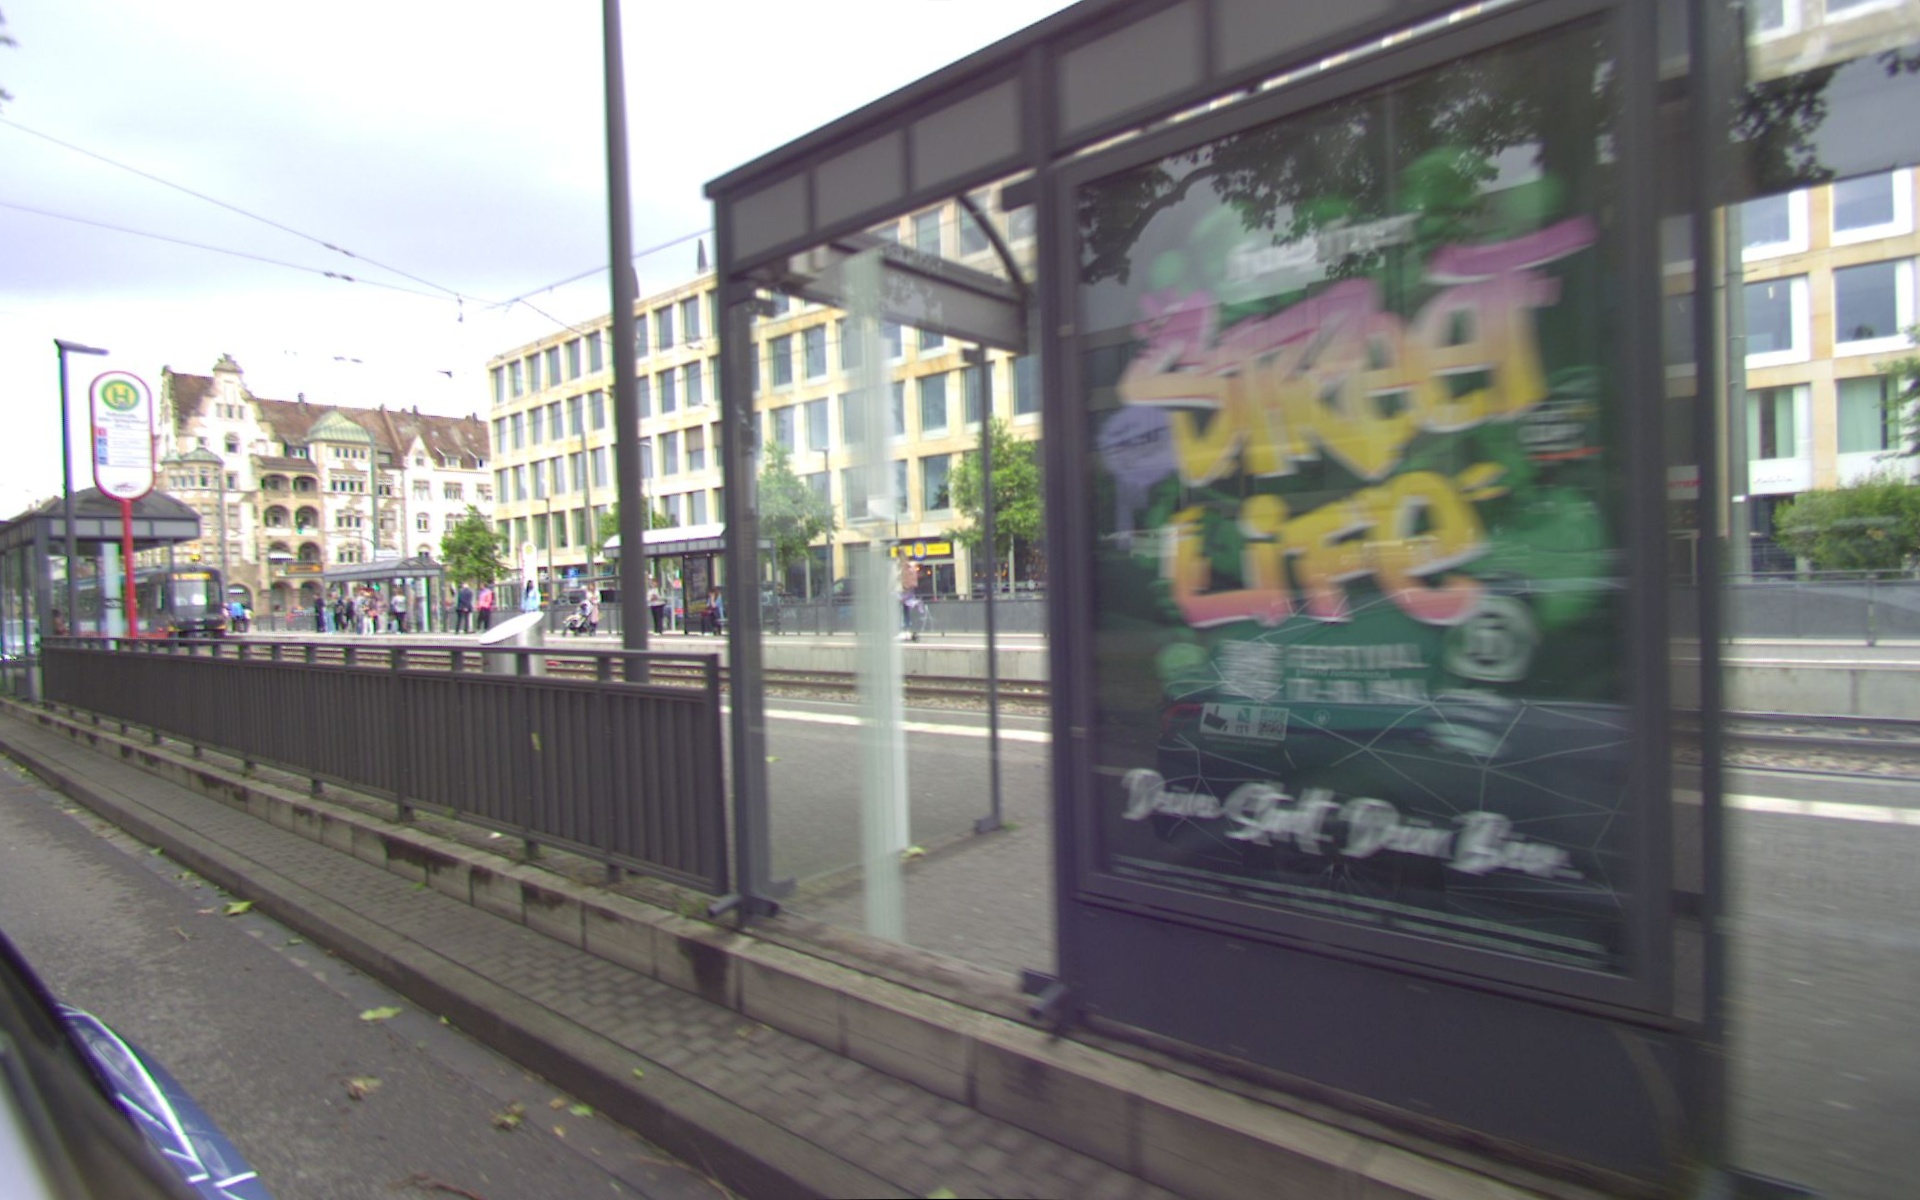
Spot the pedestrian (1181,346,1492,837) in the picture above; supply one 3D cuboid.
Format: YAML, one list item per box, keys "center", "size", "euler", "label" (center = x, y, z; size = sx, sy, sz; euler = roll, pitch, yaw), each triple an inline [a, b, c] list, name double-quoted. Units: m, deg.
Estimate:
- center: [1.601, -0.032, 4.304]
  size: [1.109, 1.807, 0.665]
  euler: [-1, 1, 32]
  label: "pedestrian"

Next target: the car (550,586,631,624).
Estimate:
- center: [-17.496, 0.215, 47.841]
  size: [4.000, 1.674, 1.972]
  euler: [-1, 1, 43]
  label: "car"

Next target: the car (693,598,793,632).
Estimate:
- center: [-8.529, 0.563, 39.609]
  size: [4.000, 1.236, 1.876]
  euler: [0, 1, 43]
  label: "car"

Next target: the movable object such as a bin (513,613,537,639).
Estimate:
- center: [-12.942, 0.768, 30.120]
  size: [0.529, 0.753, 0.469]
  euler: [-2, 1, -43]
  label: "movable object such as a bin"

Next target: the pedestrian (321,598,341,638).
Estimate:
- center: [-26.062, 0.743, 41.944]
  size: [0.588, 1.599, 0.589]
  euler: [-2, 1, -42]
  label: "pedestrian"

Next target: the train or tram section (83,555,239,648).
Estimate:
- center: [-36.626, 0.071, 46.068]
  size: [13.509, 3.719, 2.826]
  euler: [-1, 1, 40]
  label: "train or tram section"

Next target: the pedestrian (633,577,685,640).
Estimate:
- center: [-8.424, 0.231, 28.359]
  size: [0.939, 1.699, 1.027]
  euler: [-1, 1, 44]
  label: "pedestrian"

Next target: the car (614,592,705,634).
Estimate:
- center: [-12.943, 0.540, 43.555]
  size: [4.000, 1.674, 1.972]
  euler: [-1, 1, 43]
  label: "car"

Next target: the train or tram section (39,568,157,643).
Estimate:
- center: [-46.285, 0.288, 54.171]
  size: [11.690, 3.667, 2.826]
  euler: [-1, 1, 40]
  label: "train or tram section"

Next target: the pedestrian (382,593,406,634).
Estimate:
- center: [-22.577, 0.543, 40.367]
  size: [0.593, 1.599, 0.584]
  euler: [-1, 1, 22]
  label: "pedestrian"

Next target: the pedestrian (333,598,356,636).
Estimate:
- center: [-26.311, 0.736, 43.251]
  size: [0.593, 1.599, 0.584]
  euler: [-1, 1, 22]
  label: "pedestrian"

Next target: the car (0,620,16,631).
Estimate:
- center: [-140.591, 3.748, 148.859]
  size: [3.994, 1.608, 1.975]
  euler: [-1, 1, 38]
  label: "car"

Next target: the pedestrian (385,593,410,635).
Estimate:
- center: [-22.023, 0.542, 39.638]
  size: [0.593, 1.599, 0.584]
  euler: [-1, 1, 22]
  label: "pedestrian"

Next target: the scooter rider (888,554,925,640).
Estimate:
- center: [-1.042, -0.061, 19.711]
  size: [0.553, 1.661, 0.399]
  euler: [-1, 1, 40]
  label: "scooter rider"

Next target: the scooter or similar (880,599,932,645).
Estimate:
- center: [-1.051, 0.425, 19.728]
  size: [1.003, 0.856, 0.383]
  euler: [-1, 1, 40]
  label: "scooter or similar"

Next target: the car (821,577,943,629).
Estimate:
- center: [-2.716, 0.091, 34.800]
  size: [4.000, 1.674, 1.972]
  euler: [-1, 1, 43]
  label: "car"

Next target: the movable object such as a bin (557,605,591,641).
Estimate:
- center: [-11.194, 0.666, 29.367]
  size: [0.714, 1.029, 0.620]
  euler: [-1, 1, 8]
  label: "movable object such as a bin"

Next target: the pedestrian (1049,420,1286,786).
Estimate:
- center: [1.141, 0.016, 5.546]
  size: [1.108, 1.807, 0.666]
  euler: [-1, 1, 28]
  label: "pedestrian"

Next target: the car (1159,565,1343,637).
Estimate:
- center: [7.297, 0.015, 25.588]
  size: [4.000, 1.674, 1.972]
  euler: [-1, 1, 43]
  label: "car"

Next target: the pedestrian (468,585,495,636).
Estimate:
- center: [-17.752, 0.376, 37.565]
  size: [0.690, 1.868, 0.721]
  euler: [-2, 1, -43]
  label: "pedestrian"

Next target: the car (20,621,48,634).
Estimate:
- center: [-117.155, 3.453, 128.067]
  size: [3.994, 1.608, 1.975]
  euler: [-1, 1, 38]
  label: "car"

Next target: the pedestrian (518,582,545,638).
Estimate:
- center: [-12.599, 0.300, 29.737]
  size: [0.529, 1.619, 0.566]
  euler: [-2, 1, -43]
  label: "pedestrian"

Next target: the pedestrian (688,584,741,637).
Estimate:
- center: [-6.620, 0.268, 27.323]
  size: [0.939, 1.382, 1.027]
  euler: [-1, 1, 44]
  label: "pedestrian"

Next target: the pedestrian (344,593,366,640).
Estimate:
- center: [-23.658, 0.639, 39.584]
  size: [0.588, 1.782, 0.589]
  euler: [-2, 1, -42]
  label: "pedestrian"

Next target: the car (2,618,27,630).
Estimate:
- center: [-134.982, 3.434, 144.502]
  size: [3.994, 1.608, 1.975]
  euler: [-1, 1, 38]
  label: "car"

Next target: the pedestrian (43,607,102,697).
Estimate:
- center: [-14.245, 0.813, 16.240]
  size: [0.600, 1.383, 0.604]
  euler: [-1, 1, 41]
  label: "pedestrian"

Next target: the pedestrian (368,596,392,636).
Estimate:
- center: [-23.942, 0.653, 41.802]
  size: [0.593, 1.599, 0.584]
  euler: [-1, 1, 22]
  label: "pedestrian"

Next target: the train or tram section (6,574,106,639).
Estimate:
- center: [-55.226, 0.376, 61.700]
  size: [11.756, 3.667, 2.826]
  euler: [-1, 1, 40]
  label: "train or tram section"

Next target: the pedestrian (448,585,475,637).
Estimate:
- center: [-17.525, 0.371, 35.577]
  size: [0.589, 1.782, 0.588]
  euler: [-1, 1, 4]
  label: "pedestrian"

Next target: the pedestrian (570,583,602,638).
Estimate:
- center: [-11.067, 0.304, 29.952]
  size: [0.649, 1.619, 0.578]
  euler: [-1, 1, 8]
  label: "pedestrian"

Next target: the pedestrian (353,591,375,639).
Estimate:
- center: [-22.768, 0.569, 38.658]
  size: [0.588, 1.782, 0.589]
  euler: [-2, 1, -42]
  label: "pedestrian"
